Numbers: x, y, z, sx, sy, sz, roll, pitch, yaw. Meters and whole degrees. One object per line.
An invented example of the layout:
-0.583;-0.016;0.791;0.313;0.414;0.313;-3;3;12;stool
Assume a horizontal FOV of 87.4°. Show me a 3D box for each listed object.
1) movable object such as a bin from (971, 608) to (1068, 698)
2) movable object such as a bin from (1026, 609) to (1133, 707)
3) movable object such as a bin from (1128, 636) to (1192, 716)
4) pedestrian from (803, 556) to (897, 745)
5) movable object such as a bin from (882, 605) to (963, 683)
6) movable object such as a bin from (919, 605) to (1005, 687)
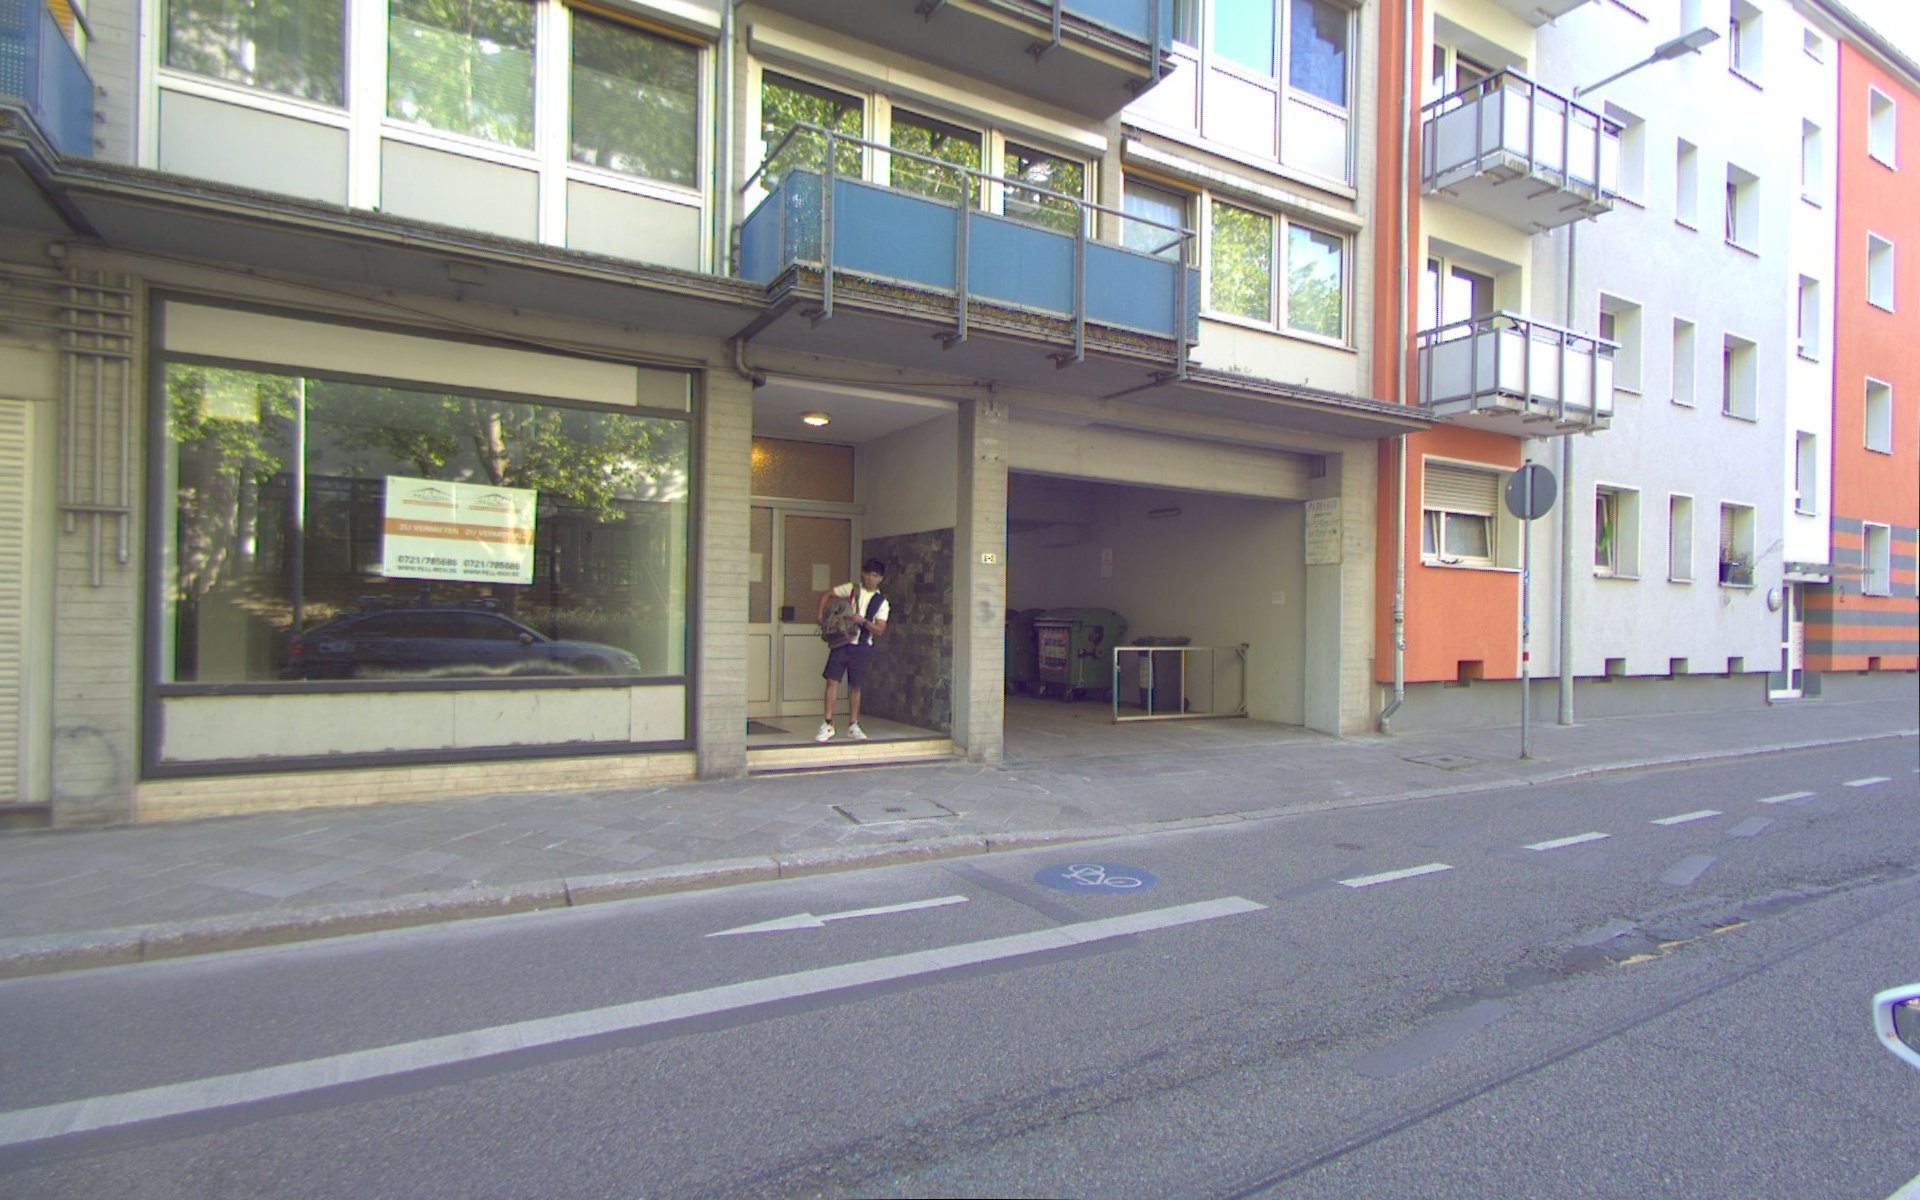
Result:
1.005;0.886;17.156;1.120;1.444;1.268;2;0;-28;movable object such as a bin
1.872;0.883;15.815;1.120;1.444;1.268;2;0;-28;movable object such as a bin
2.884;1.082;14.490;0.713;1.094;0.533;2;0;-29;movable object such as a bin
-1.000;0.448;9.250;0.778;1.639;0.836;2;0;-5;pedestrian
-0.745;0.846;19.791;1.120;1.444;1.268;2;0;-28;movable object such as a bin
0.027;0.842;18.700;1.120;1.444;1.268;2;0;-28;movable object such as a bin
